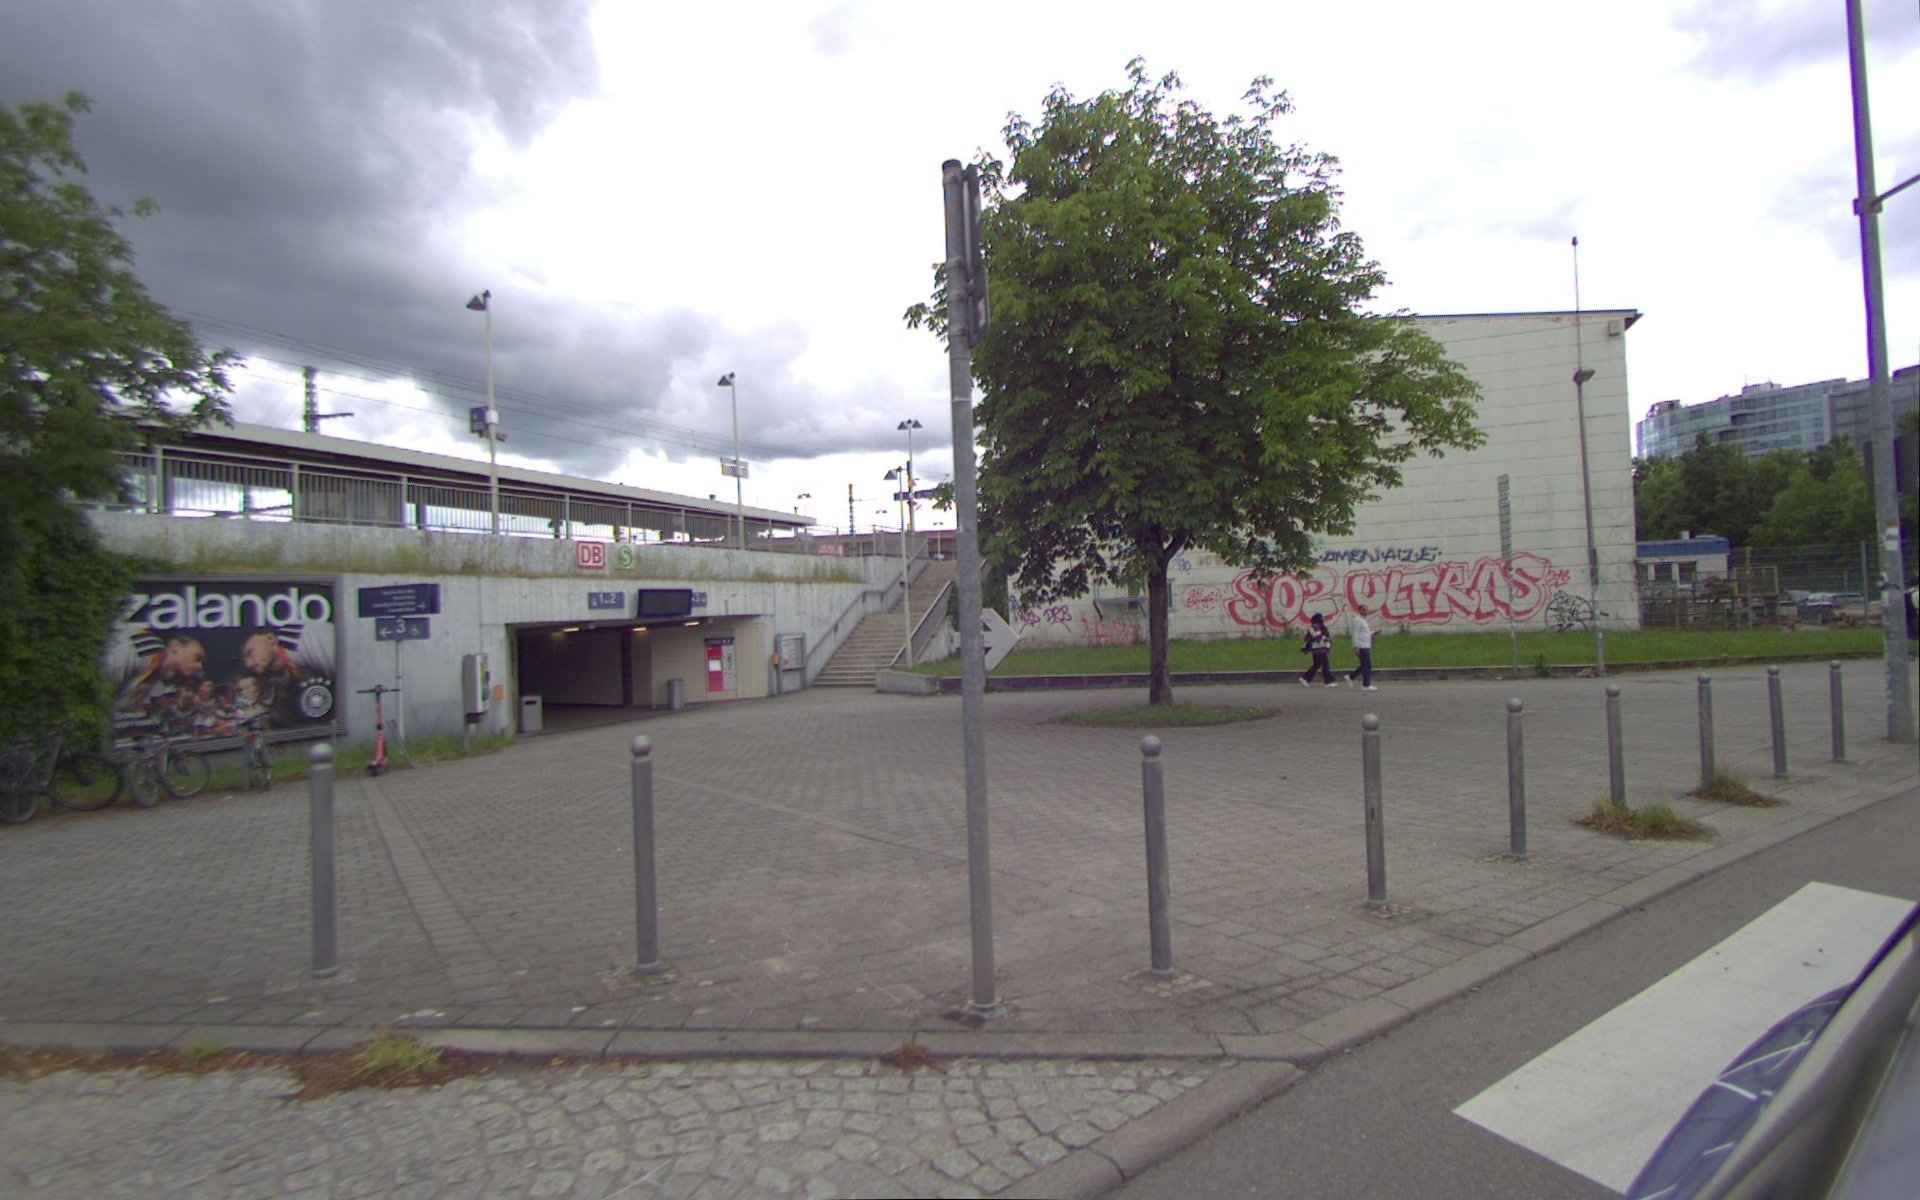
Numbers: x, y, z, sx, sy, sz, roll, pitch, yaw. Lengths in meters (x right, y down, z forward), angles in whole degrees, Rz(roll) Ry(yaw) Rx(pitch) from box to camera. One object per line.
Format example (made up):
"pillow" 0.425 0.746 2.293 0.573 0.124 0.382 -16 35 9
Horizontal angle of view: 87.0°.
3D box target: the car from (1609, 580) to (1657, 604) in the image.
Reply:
"car" 38.845 -0.483 58.464 1.319 1.348 3.295 0 0 15

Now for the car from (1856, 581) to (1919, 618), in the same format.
"car" 38.505 -0.037 41.801 1.355 1.458 2.833 0 0 22

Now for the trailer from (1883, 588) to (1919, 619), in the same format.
"trailer" 37.601 0.124 39.246 1.827 1.152 2.620 -1 0 22

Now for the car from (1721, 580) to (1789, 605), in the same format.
"car" 44.032 -0.420 56.135 1.507 1.348 3.670 0 0 12

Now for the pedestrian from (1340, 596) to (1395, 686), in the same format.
"pedestrian" 8.102 0.802 20.148 0.736 1.724 0.815 -3 -1 7

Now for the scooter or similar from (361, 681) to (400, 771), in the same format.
"scooter or similar" -8.468 1.812 14.802 0.459 1.222 1.192 -1 -4 -29

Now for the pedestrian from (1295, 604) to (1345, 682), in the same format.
"pedestrian" 7.663 0.897 21.582 0.788 1.603 0.800 -3 -1 7

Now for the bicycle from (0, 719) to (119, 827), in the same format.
"bicycle" -10.096 1.882 11.164 0.680 1.002 1.494 -1 -3 -14

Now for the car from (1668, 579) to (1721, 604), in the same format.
"car" 41.372 -0.491 57.081 1.319 1.348 3.295 0 0 15

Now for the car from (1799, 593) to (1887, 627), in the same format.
"car" 39.374 0.423 45.228 1.786 1.394 3.770 -2 0 22

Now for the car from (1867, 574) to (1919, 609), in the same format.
"car" 43.901 -0.363 45.881 3.760 1.550 1.557 1 2 18

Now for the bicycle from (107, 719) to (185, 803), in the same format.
"bicycle" -9.921 1.931 12.368 0.454 0.865 1.581 0 -4 -29

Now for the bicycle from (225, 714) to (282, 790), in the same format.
"bicycle" -9.352 1.981 13.442 0.501 0.877 1.972 0 -5 -32

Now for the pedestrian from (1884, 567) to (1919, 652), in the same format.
"pedestrian" 19.871 0.175 20.785 0.923 1.705 0.850 -2 0 4
